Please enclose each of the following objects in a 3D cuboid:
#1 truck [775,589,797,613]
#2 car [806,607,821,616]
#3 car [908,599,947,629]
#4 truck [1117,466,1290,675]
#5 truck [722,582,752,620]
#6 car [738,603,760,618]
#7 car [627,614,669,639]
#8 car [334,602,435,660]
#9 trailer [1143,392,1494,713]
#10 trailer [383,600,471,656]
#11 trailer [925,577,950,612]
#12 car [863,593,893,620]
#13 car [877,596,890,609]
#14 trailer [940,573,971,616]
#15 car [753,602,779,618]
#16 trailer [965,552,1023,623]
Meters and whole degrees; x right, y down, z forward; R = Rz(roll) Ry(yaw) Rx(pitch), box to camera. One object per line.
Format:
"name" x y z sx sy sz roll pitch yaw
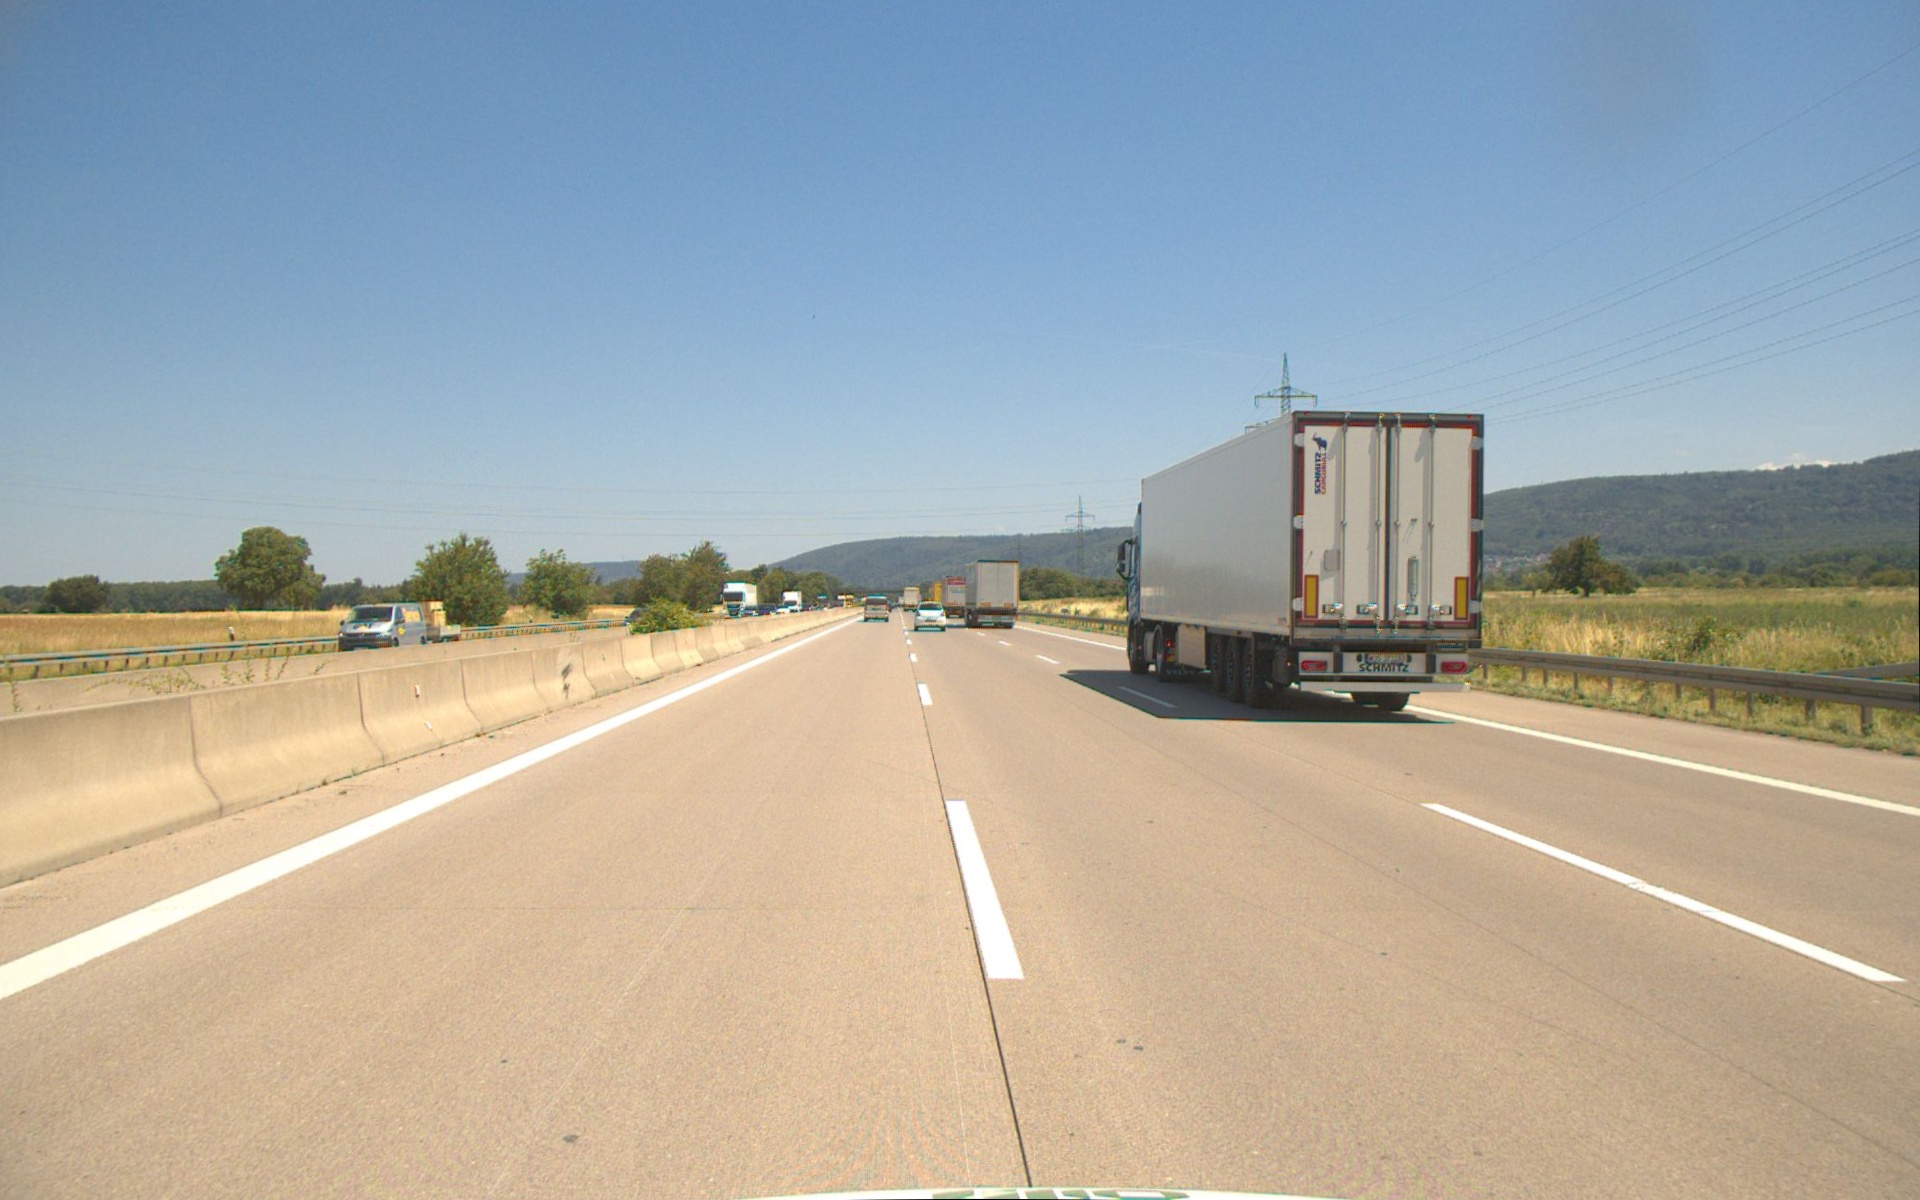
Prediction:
"truck" -23.202 0.128 220.628 2.496 3.197 7.918 0 0 -2
"car" -21.074 1.635 238.380 1.809 1.375 4.492 0 0 -1
"car" -1.734 0.740 88.842 2.064 1.563 4.121 1 0 -1
"truck" 5.117 -0.572 35.741 2.695 4.114 5.463 1 0 -2
"truck" -25.022 0.083 185.748 2.762 4.115 5.675 1 0 -2
"car" -20.559 1.032 161.343 1.701 1.397 4.903 1 0 -3
"car" -17.867 1.500 94.930 1.678 1.383 5.040 1 0 -3
"car" -20.667 1.076 59.639 1.827 1.978 5.563 1 0 -2
"trailer" 5.374 -0.597 27.906 2.654 4.114 12.896 1 0 -2
"trailer" -20.861 1.048 64.915 1.773 2.078 5.611 1 0 -2
"trailer" -3.214 -0.724 228.847 3.151 4.643 13.451 1 0 -2
"car" -6.271 0.496 126.753 2.209 2.049 4.296 1 0 -1
"car" -11.053 0.351 239.925 1.748 1.914 3.998 1 0 -2
"trailer" -0.488 -0.512 167.199 2.815 4.172 13.508 1 0 -1
"car" -15.295 0.783 130.565 1.736 1.261 4.675 1 0 -2
"trailer" 2.041 -0.731 105.275 2.957 4.132 14.201 1 0 -2
